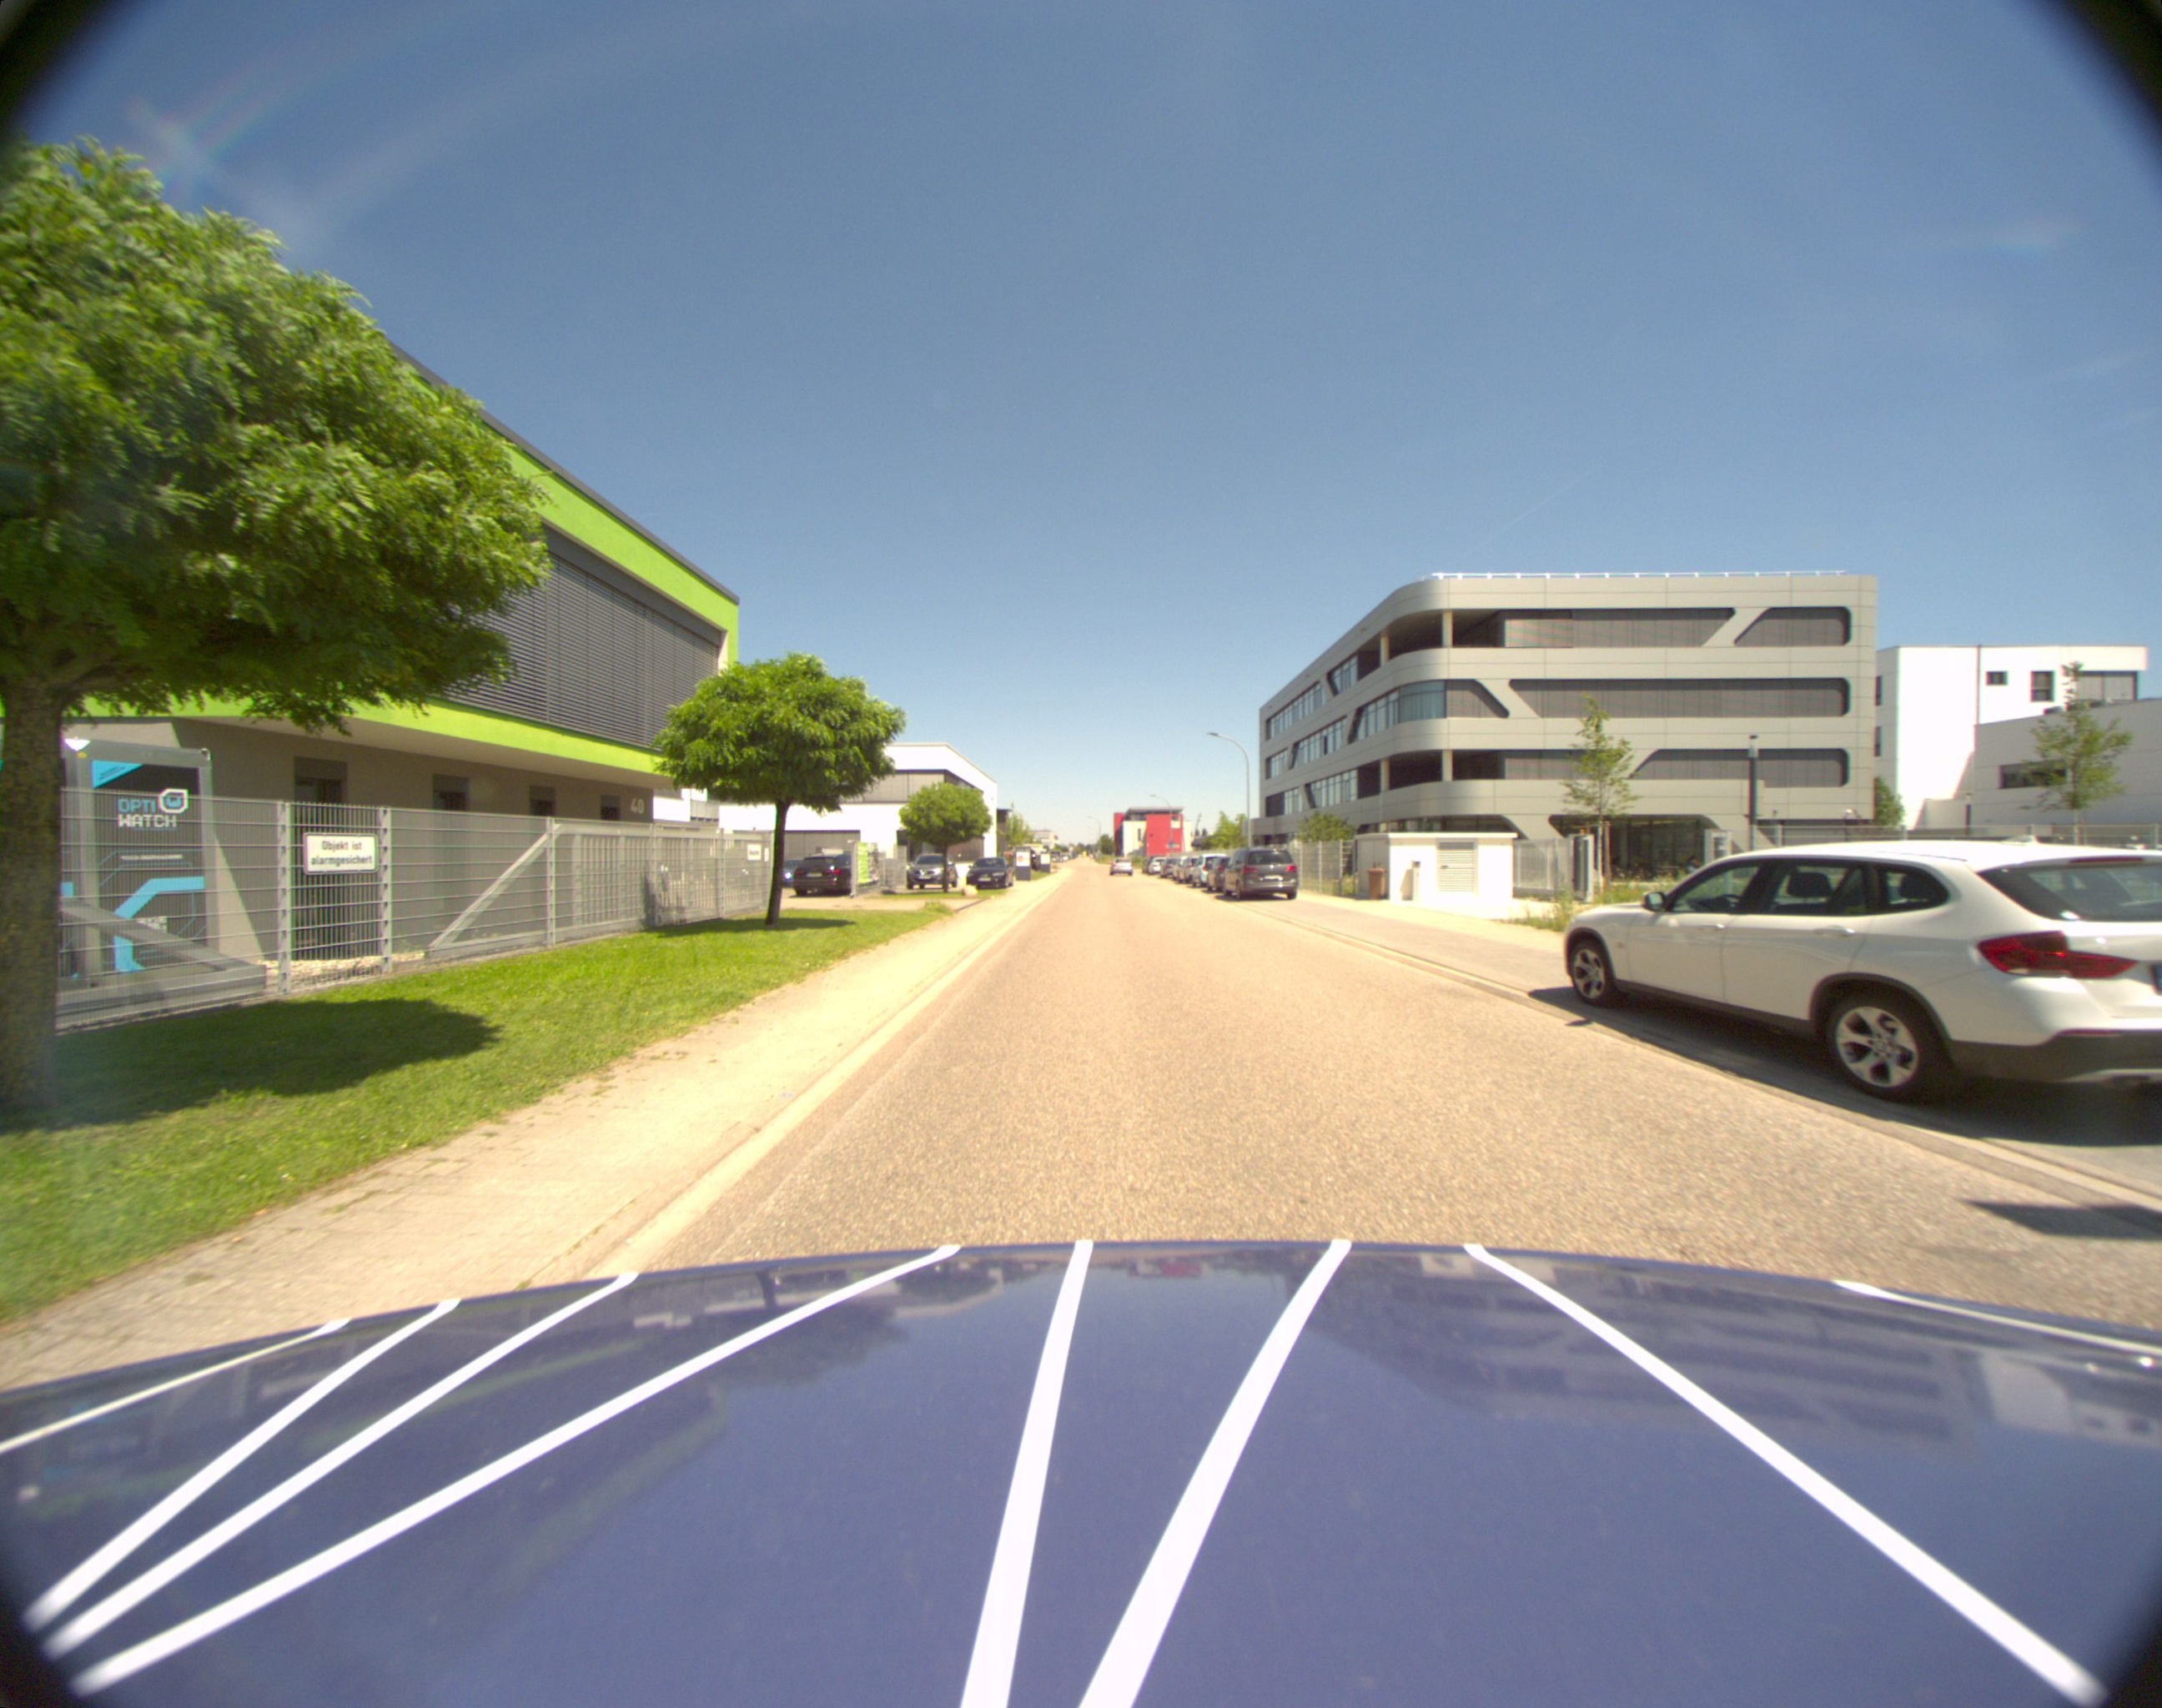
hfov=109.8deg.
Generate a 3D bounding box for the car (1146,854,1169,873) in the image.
[{"bbox_3d":[6.838,0.855,68.066,1.774,1.641,4.852,-1,-1,3],"label":"car"}]

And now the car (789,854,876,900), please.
[{"bbox_3d":[-8.797,0.776,27.306,1.742,1.390,4.053,0,2,0],"label":"car"}]

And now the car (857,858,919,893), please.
[{"bbox_3d":[-8.769,0.950,34.895,1.727,1.441,4.022,-1,0,1],"label":"car"}]

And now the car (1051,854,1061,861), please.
[{"bbox_3d":[-5.028,0.660,151.526,1.828,1.269,3.886,0,0,2],"label":"car"}]

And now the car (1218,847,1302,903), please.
[{"bbox_3d":[5.962,0.659,25.897,1.807,1.709,4.622,-2,0,1],"label":"car"}]

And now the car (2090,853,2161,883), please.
[{"bbox_3d":[57.253,0.745,40.806,3.999,1.576,1.921,0,0,-6],"label":"car"}]

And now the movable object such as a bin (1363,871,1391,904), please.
[{"bbox_3d":[8.686,0.969,22.305,0.602,0.940,0.517,-1,0,41],"label":"movable object such as a bin"}]

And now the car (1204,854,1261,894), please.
[{"bbox_3d":[6.134,0.779,31.087,1.638,1.491,3.972,-2,0,2],"label":"car"}]

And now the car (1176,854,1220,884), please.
[{"bbox_3d":[6.372,0.783,41.768,1.707,1.527,4.572,-2,0,0],"label":"car"}]

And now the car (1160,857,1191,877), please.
[{"bbox_3d":[6.549,0.896,53.089,1.688,1.378,4.640,-1,-1,2],"label":"car"}]

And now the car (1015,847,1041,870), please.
[{"bbox_3d":[-4.867,0.475,70.146,1.999,2.001,5.801,0,-2,-1],"label":"car"}]

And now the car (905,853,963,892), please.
[{"bbox_3d":[-6.602,0.801,34.519,1.727,1.623,4.022,-1,0,1],"label":"car"}]

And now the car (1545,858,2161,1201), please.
[{"bbox_3d":[5.626,0.832,5.693,1.791,1.533,4.365,-1,0,3],"label":"car"}]

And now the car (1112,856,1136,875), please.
[{"bbox_3d":[3.485,0.886,62.164,1.708,1.403,4.784,2,0,1],"label":"car"}]

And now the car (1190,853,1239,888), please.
[{"bbox_3d":[6.260,0.761,36.033,1.639,1.527,3.657,-2,0,0],"label":"car"}]

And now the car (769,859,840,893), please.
[{"bbox_3d":[-12.718,0.975,35.247,1.727,1.427,4.022,-1,0,1],"label":"car"}]

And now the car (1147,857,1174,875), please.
[{"bbox_3d":[6.447,0.968,61.800,1.704,1.378,3.937,-1,-1,-2],"label":"car"}]

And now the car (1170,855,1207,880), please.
[{"bbox_3d":[6.669,0.820,47.531,1.707,1.435,4.439,-2,0,0],"label":"car"}]

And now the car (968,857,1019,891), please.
[{"bbox_3d":[-3.892,0.849,34.388,1.696,1.419,4.246,-1,0,1],"label":"car"}]

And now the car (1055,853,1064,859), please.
[{"bbox_3d":[-4.686,0.496,167.766,1.828,1.269,3.886,0,0,2],"label":"car"}]
